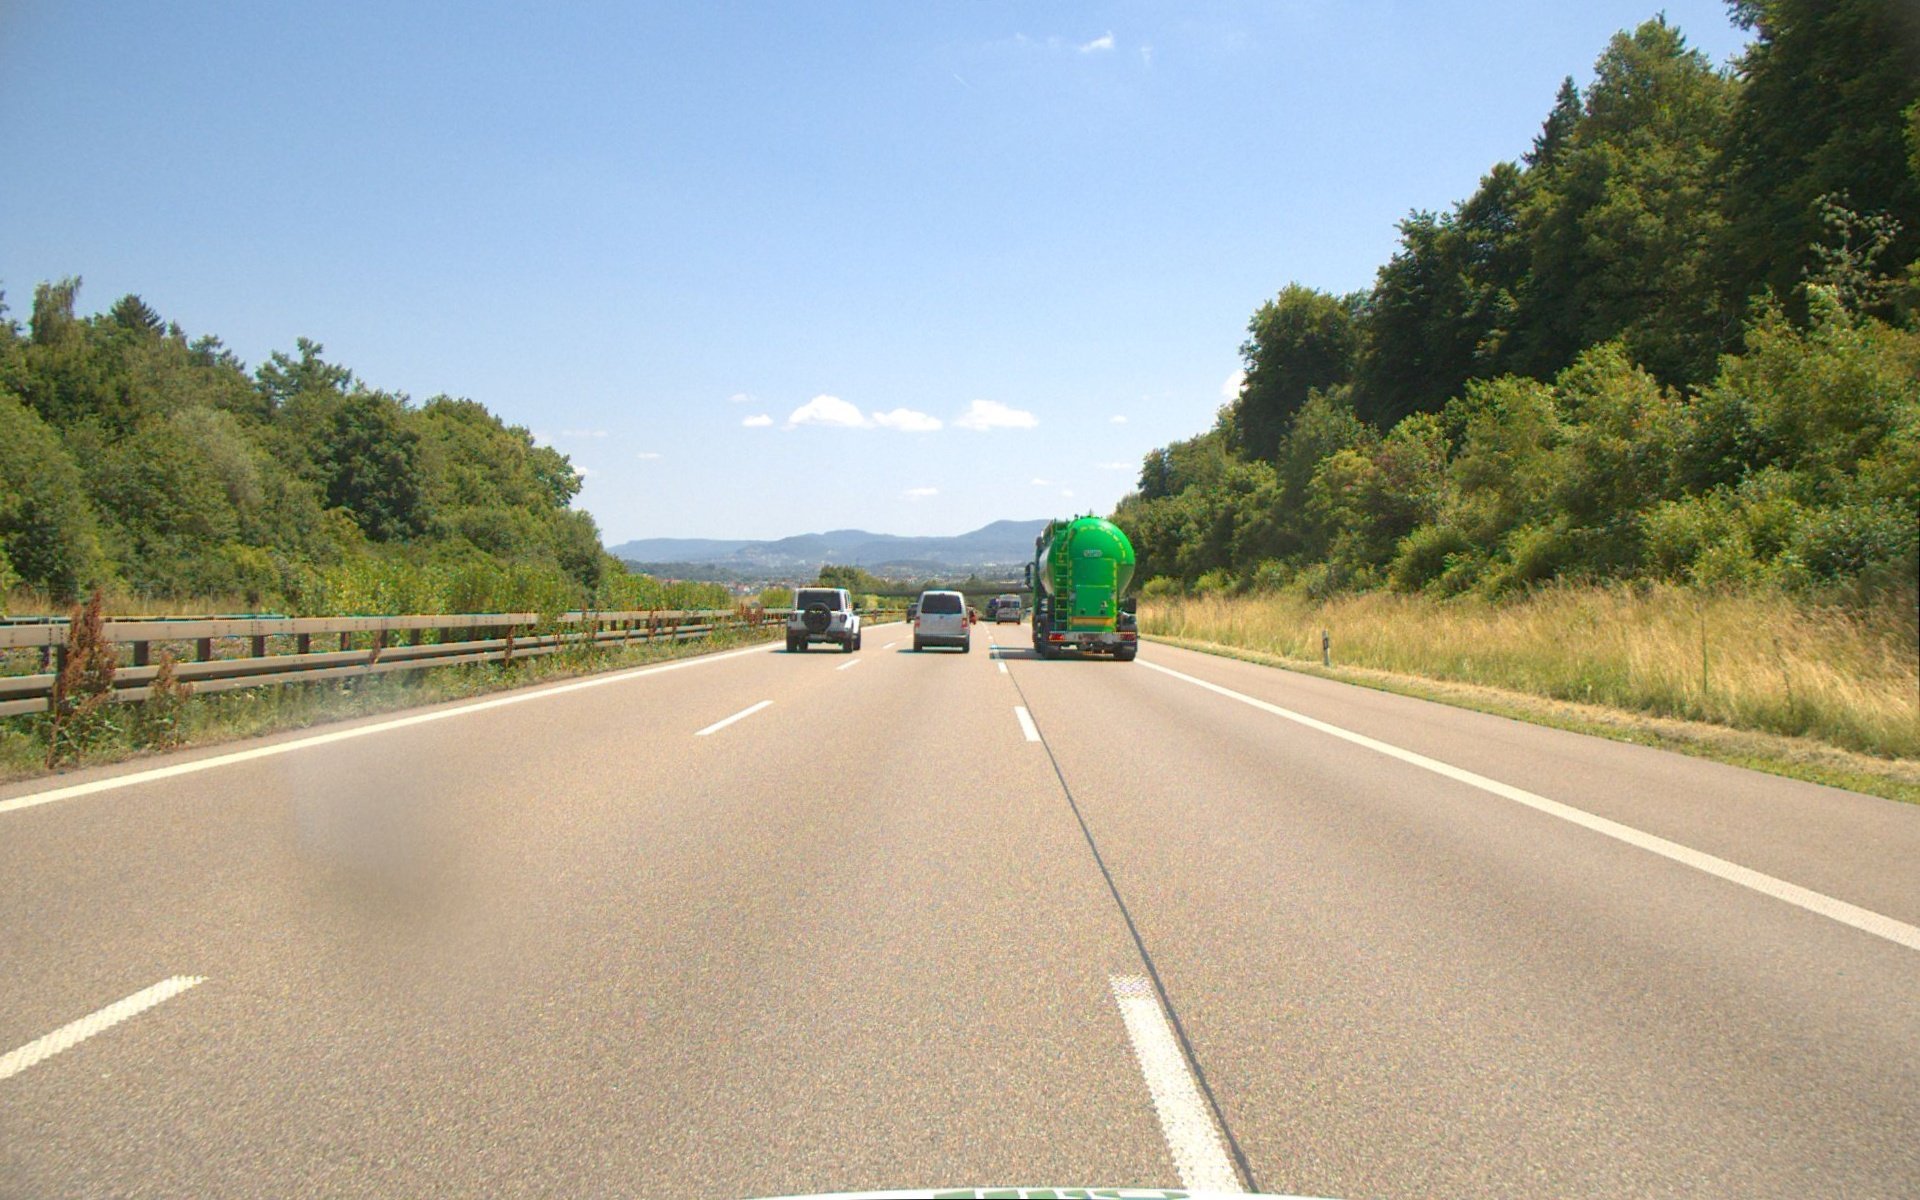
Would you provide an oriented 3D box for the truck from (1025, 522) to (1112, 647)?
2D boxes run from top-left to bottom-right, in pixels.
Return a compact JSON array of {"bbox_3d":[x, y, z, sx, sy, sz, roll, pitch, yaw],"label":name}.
[{"bbox_3d":[3.537,-0.491,55.008,2.458,3.909,4.891,1,0,-1],"label":"truck"}]

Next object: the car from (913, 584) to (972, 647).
[{"bbox_3d":[-0.562,0.454,51.665,1.710,1.861,4.800,1,0,-1],"label":"car"}]

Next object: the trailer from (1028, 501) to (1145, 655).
[{"bbox_3d":[3.619,-0.597,49.746,2.535,4.098,10.468,1,0,-1],"label":"trailer"}]

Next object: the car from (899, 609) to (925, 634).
[{"bbox_3d":[-4.065,1.803,140.077,1.952,2.049,4.000,1,0,1],"label":"car"}]

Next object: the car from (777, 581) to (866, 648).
[{"bbox_3d":[-4.042,0.405,49.045,2.040,1.861,4.755,1,0,2],"label":"car"}]

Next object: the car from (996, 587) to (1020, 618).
[{"bbox_3d":[4.228,0.199,145.182,2.046,2.621,6.623,1,0,2],"label":"car"}]

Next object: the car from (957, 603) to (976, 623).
[{"bbox_3d":[0.568,1.069,138.531,1.416,1.577,3.357,1,0,3],"label":"car"}]
